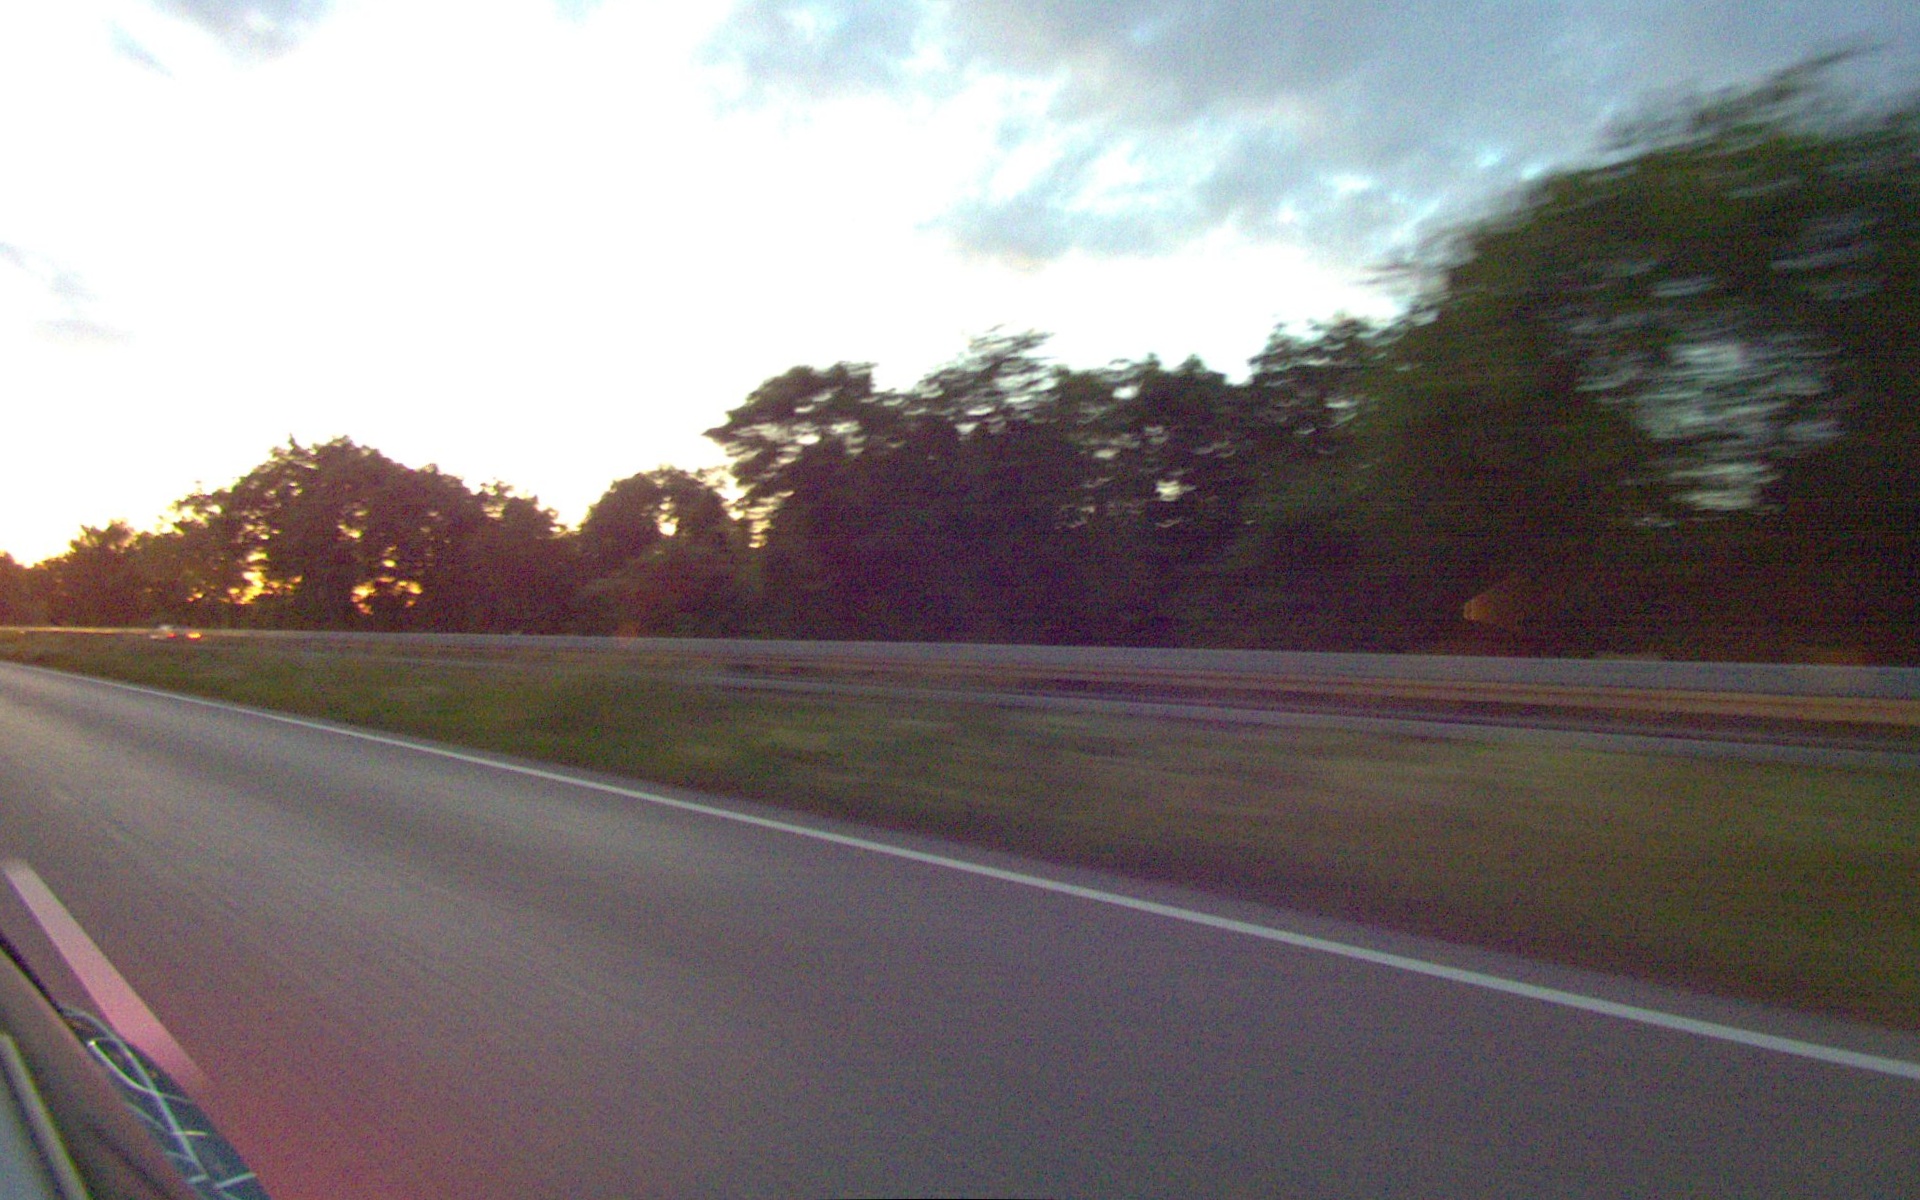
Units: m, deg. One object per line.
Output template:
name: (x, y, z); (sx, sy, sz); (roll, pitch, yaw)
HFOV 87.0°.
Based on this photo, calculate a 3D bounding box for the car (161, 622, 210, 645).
car: (-46.846, 2.019, 61.164); (3.938, 1.333, 1.612); (-1, -1, 41)
